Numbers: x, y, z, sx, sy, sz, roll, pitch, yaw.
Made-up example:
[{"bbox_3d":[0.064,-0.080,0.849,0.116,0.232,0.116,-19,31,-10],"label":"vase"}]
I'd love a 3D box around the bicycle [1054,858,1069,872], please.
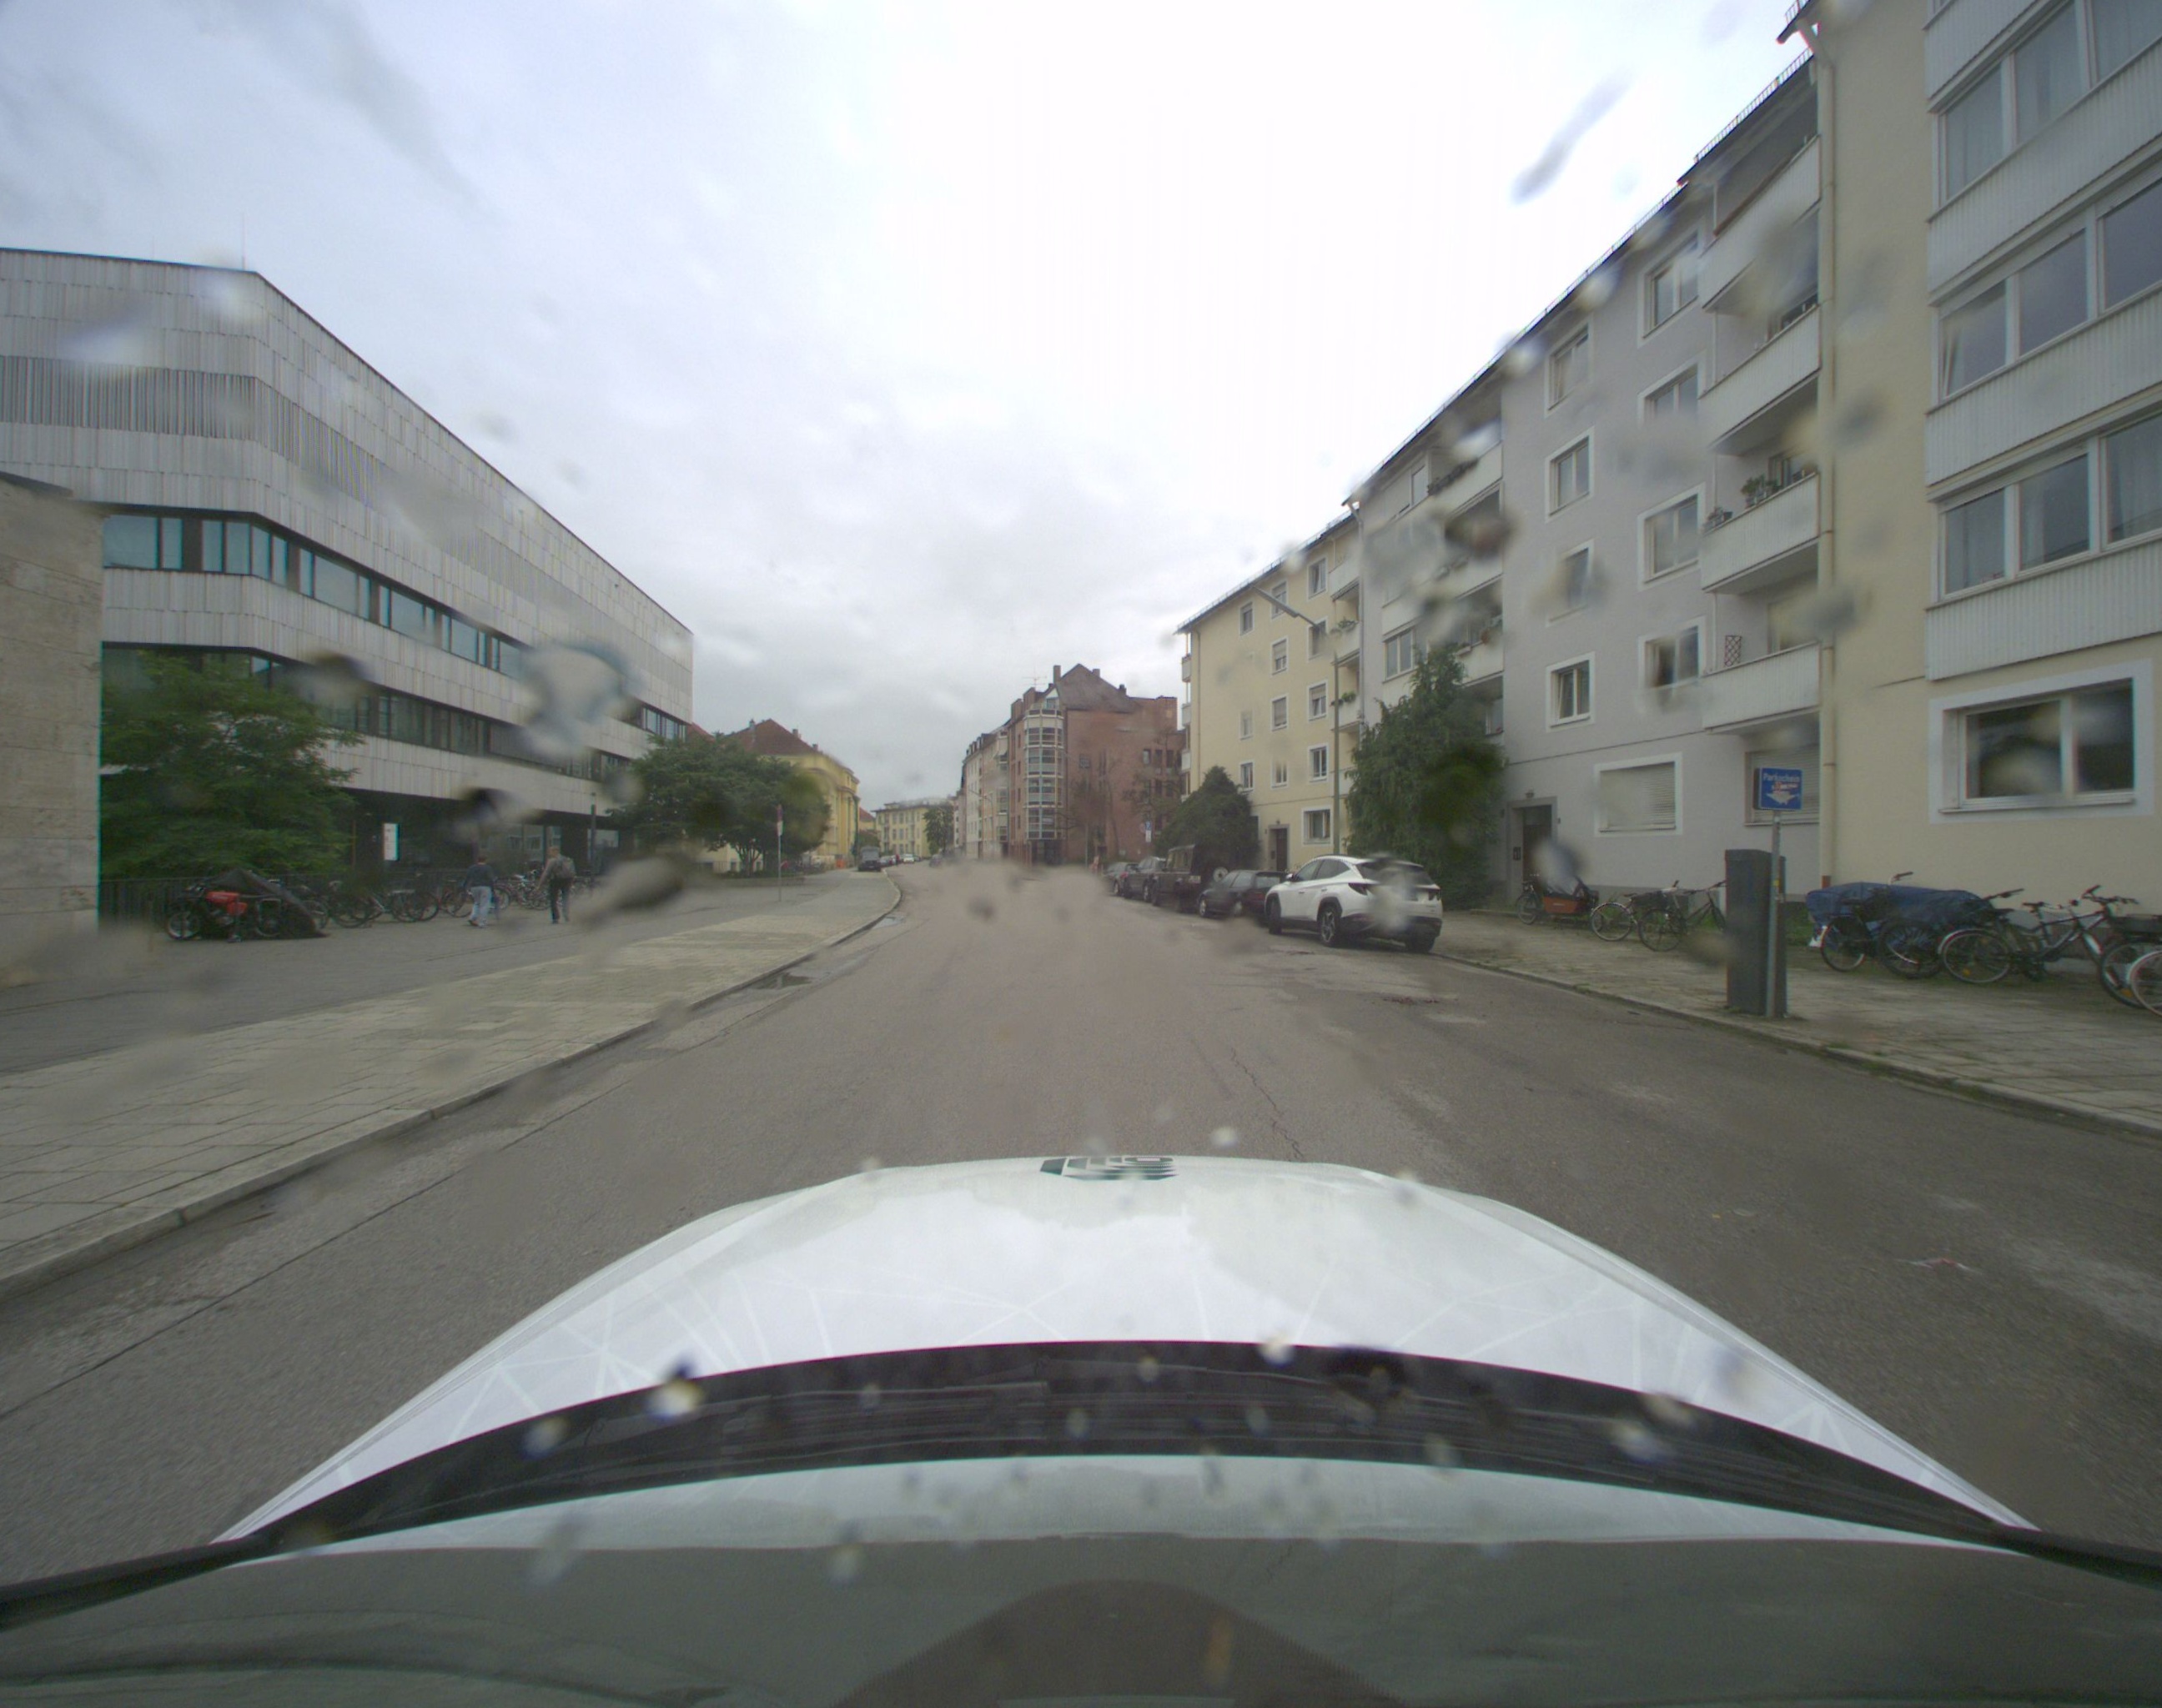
[{"bbox_3d":[-1.709,0.967,71.536,0.536,1.248,2.396,2,-2,-21],"label":"bicycle"}]

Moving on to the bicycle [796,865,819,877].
[{"bbox_3d":[-23.945,1.498,71.199,1.788,1.033,0.506,2,0,-6],"label":"bicycle"}]

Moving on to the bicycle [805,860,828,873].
[{"bbox_3d":[-24.827,1.175,76.397,1.953,1.131,0.572,2,0,-6],"label":"bicycle"}]

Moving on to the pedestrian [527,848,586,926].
[{"bbox_3d":[-12.198,0.747,18.965,0.791,1.739,0.821,2,0,1],"label":"pedestrian"}]

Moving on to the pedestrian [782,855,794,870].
[{"bbox_3d":[-23.644,0.649,65.773,0.718,1.163,1.037,2,0,-10],"label":"pedestrian"}]

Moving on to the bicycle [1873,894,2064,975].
[{"bbox_3d":[10.977,0.990,10.115,1.689,0.942,0.434,-1,0,10],"label":"bicycle"}]

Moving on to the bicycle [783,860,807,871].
[{"bbox_3d":[-22.817,0.929,65.046,1.718,0.862,0.438,2,0,-9],"label":"bicycle"}]

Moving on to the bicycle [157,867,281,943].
[{"bbox_3d":[-14.900,0.874,14.109,1.450,1.259,0.461,2,0,-10],"label":"bicycle"}]

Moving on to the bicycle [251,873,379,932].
[{"bbox_3d":[-15.839,0.995,16.859,2.038,1.111,0.617,2,0,1],"label":"bicycle"}]

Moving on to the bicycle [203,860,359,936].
[{"bbox_3d":[-15.169,0.833,15.485,2.098,1.352,0.611,2,0,-10],"label":"bicycle"}]

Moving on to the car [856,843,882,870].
[{"bbox_3d":[-22.814,0.327,87.498,2.427,2.715,5.919,-1,-1,-17],"label":"car"}]

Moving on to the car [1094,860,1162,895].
[{"bbox_3d":[1.945,0.987,34.863,1.757,1.396,4.024,2,-1,-15],"label":"car"}]

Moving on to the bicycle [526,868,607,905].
[{"bbox_3d":[-16.314,1.027,25.856,2.047,1.111,0.614,2,0,-13],"label":"bicycle"}]

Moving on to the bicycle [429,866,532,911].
[{"bbox_3d":[-15.718,0.896,21.372,2.050,1.111,0.613,2,0,-17],"label":"bicycle"}]

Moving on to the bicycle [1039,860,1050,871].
[{"bbox_3d":[-3.548,1.098,79.138,0.487,1.060,1.984,2,-1,-17],"label":"bicycle"}]

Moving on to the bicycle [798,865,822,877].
[{"bbox_3d":[-23.932,1.504,71.993,1.863,1.029,0.539,2,0,-6],"label":"bicycle"}]

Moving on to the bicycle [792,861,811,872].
[{"bbox_3d":[-22.726,1.025,66.236,1.371,0.862,0.438,2,0,-9],"label":"bicycle"}]

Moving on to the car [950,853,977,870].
[{"bbox_3d":[-12.440,0.754,85.679,1.970,1.602,4.642,2,0,-19],"label":"car"}]

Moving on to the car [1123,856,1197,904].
[{"bbox_3d":[2.797,0.895,29.820,1.658,1.566,4.501,2,-1,-9],"label":"car"}]

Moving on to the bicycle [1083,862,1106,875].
[{"bbox_3d":[1.032,1.160,64.176,1.703,0.965,0.543,2,0,-15],"label":"bicycle"}]

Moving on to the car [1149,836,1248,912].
[{"bbox_3d":[3.493,0.541,25.043,1.747,2.081,4.502,2,0,-9],"label":"car"}]

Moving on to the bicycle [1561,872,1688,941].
[{"bbox_3d":[9.858,0.917,14.848,0.580,1.158,1.814,-2,0,-31],"label":"bicycle"}]

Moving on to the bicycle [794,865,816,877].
[{"bbox_3d":[-23.549,1.446,69.441,1.672,0.916,0.594,2,0,-6],"label":"bicycle"}]

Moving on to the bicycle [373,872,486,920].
[{"bbox_3d":[-15.983,1.028,20.041,2.050,1.111,0.613,2,0,-17],"label":"bicycle"}]

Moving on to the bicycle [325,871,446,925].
[{"bbox_3d":[-15.665,0.989,18.376,2.042,1.111,0.615,2,0,-6],"label":"bicycle"}]

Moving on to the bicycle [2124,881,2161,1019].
[{"bbox_3d":[10.568,0.858,7.353,1.693,1.221,0.433,-1,0,1],"label":"bicycle"}]

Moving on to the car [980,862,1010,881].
[{"bbox_3d":[-7.533,1.527,70.897,1.928,1.512,4.369,2,-1,-15],"label":"car"}]

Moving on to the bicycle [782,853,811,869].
[{"bbox_3d":[-23.614,0.569,67.736,2.101,1.227,0.785,2,0,-6],"label":"bicycle"}]

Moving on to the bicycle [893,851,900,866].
[{"bbox_3d":[-26.214,0.583,115.917,0.748,2.013,2.839,-2,1,-9],"label":"bicycle"}]

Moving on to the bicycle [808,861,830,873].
[{"bbox_3d":[-25.075,1.225,78.012,1.901,1.092,0.676,2,0,-6],"label":"bicycle"}]

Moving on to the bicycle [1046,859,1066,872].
[{"bbox_3d":[-2.413,1.092,77.707,1.848,1.147,0.486,2,0,-10],"label":"bicycle"}]

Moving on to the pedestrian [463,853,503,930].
[{"bbox_3d":[-12.929,0.803,17.621,0.647,1.601,0.600,2,0,-34],"label":"pedestrian"}]

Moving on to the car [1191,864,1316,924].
[{"bbox_3d":[4.182,0.945,20.384,1.659,1.349,3.788,2,-1,-12],"label":"car"}]

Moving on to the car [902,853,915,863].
[{"bbox_3d":[-30.673,0.791,144.763,2.029,1.621,4.483,-2,-1,-14],"label":"car"}]

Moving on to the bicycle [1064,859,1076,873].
[{"bbox_3d":[-0.938,1.011,70.341,0.416,1.173,1.370,2,0,29],"label":"bicycle"}]

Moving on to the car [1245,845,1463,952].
[{"bbox_3d":[4.906,0.704,15.472,2.025,1.678,4.599,2,0,-9],"label":"car"}]

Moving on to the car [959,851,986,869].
[{"bbox_3d":[-10.773,0.574,80.919,1.835,1.602,4.239,2,0,-19],"label":"car"}]

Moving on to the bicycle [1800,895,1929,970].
[{"bbox_3d":[10.521,1.041,10.943,1.468,0.857,0.443,-3,0,-10],"label":"bicycle"}]

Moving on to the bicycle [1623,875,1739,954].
[{"bbox_3d":[9.917,0.966,13.466,1.832,1.158,0.574,-2,0,-19],"label":"bicycle"}]

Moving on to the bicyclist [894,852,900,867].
[{"bbox_3d":[-26.208,0.751,115.976,0.766,2.013,0.765,-3,1,-10],"label":"bicyclist"}]

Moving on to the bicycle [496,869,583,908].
[{"bbox_3d":[-16.236,1.040,24.456,2.047,1.111,0.614,2,0,-13],"label":"bicycle"}]

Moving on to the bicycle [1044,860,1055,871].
[{"bbox_3d":[-3.073,1.090,79.337,0.487,1.060,1.984,2,0,-17],"label":"bicycle"}]

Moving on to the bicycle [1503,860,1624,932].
[{"bbox_3d":[10.293,0.849,17.502,0.743,1.367,2.462,-3,0,-11],"label":"bicycle"}]

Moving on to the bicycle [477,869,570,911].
[{"bbox_3d":[-15.695,1.014,22.957,2.047,1.111,0.614,2,0,-13],"label":"bicycle"}]

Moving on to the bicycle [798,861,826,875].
[{"bbox_3d":[-24.366,1.281,73.731,2.306,1.135,0.580,2,0,-6],"label":"bicycle"}]

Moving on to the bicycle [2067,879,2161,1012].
[{"bbox_3d":[10.602,0.859,7.822,1.693,1.221,0.433,-1,0,1],"label":"bicycle"}]

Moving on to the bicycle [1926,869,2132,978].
[{"bbox_3d":[11.111,0.807,9.578,1.689,1.221,0.434,-1,0,9],"label":"bicycle"}]

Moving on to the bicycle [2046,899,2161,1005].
[{"bbox_3d":[10.969,0.989,8.345,1.494,0.990,0.481,-2,0,3],"label":"bicycle"}]
